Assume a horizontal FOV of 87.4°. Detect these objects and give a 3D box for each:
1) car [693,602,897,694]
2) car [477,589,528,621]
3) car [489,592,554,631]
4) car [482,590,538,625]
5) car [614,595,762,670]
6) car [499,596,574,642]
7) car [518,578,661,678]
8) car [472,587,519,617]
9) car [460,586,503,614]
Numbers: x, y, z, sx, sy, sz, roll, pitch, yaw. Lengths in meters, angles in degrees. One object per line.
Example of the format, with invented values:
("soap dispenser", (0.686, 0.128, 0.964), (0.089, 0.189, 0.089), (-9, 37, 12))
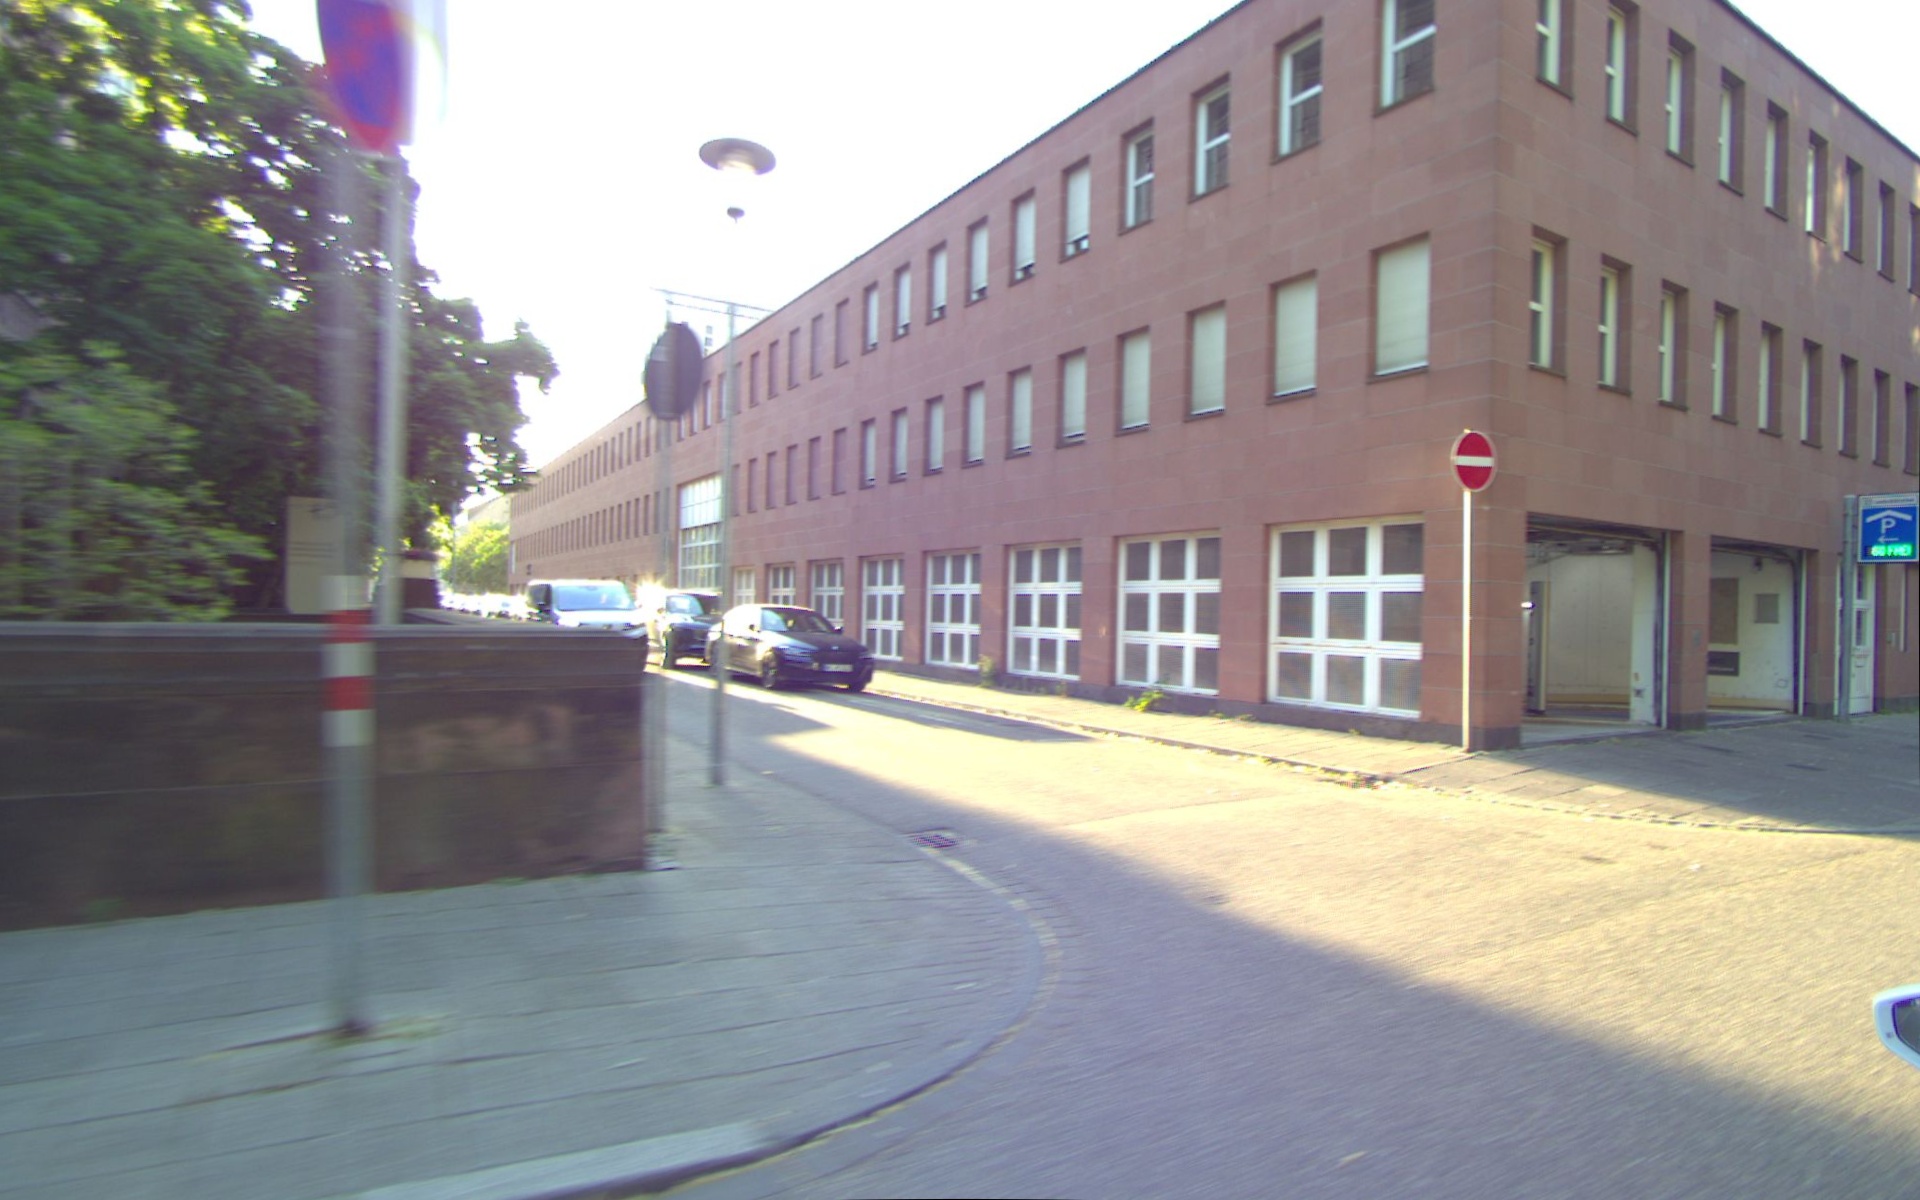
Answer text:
("car", (-3.300, 0.844, 19.119), (1.979, 1.430, 5.063), (4, -2, -32))
("car", (-24.616, 0.250, 54.020), (1.978, 1.583, 4.002), (4, -2, -31))
("car", (-19.825, 0.477, 45.287), (1.978, 1.583, 5.065), (4, -2, -31))
("car", (-22.348, 0.350, 49.767), (1.977, 1.583, 4.373), (4, -2, -30))
("car", (-6.593, 0.711, 23.910), (1.978, 1.528, 5.064), (4, -2, -32))
("car", (-16.783, 0.724, 39.679), (1.978, 1.583, 5.065), (4, -2, -31))
("car", (-8.168, 0.510, 21.840), (1.977, 1.900, 5.064), (0, 1, -31))
("car", (-27.123, 0.125, 58.585), (1.978, 1.583, 4.002), (4, -2, -31))
("car", (-30.132, -0.020, 63.217), (1.978, 1.583, 4.002), (4, -2, -31))
